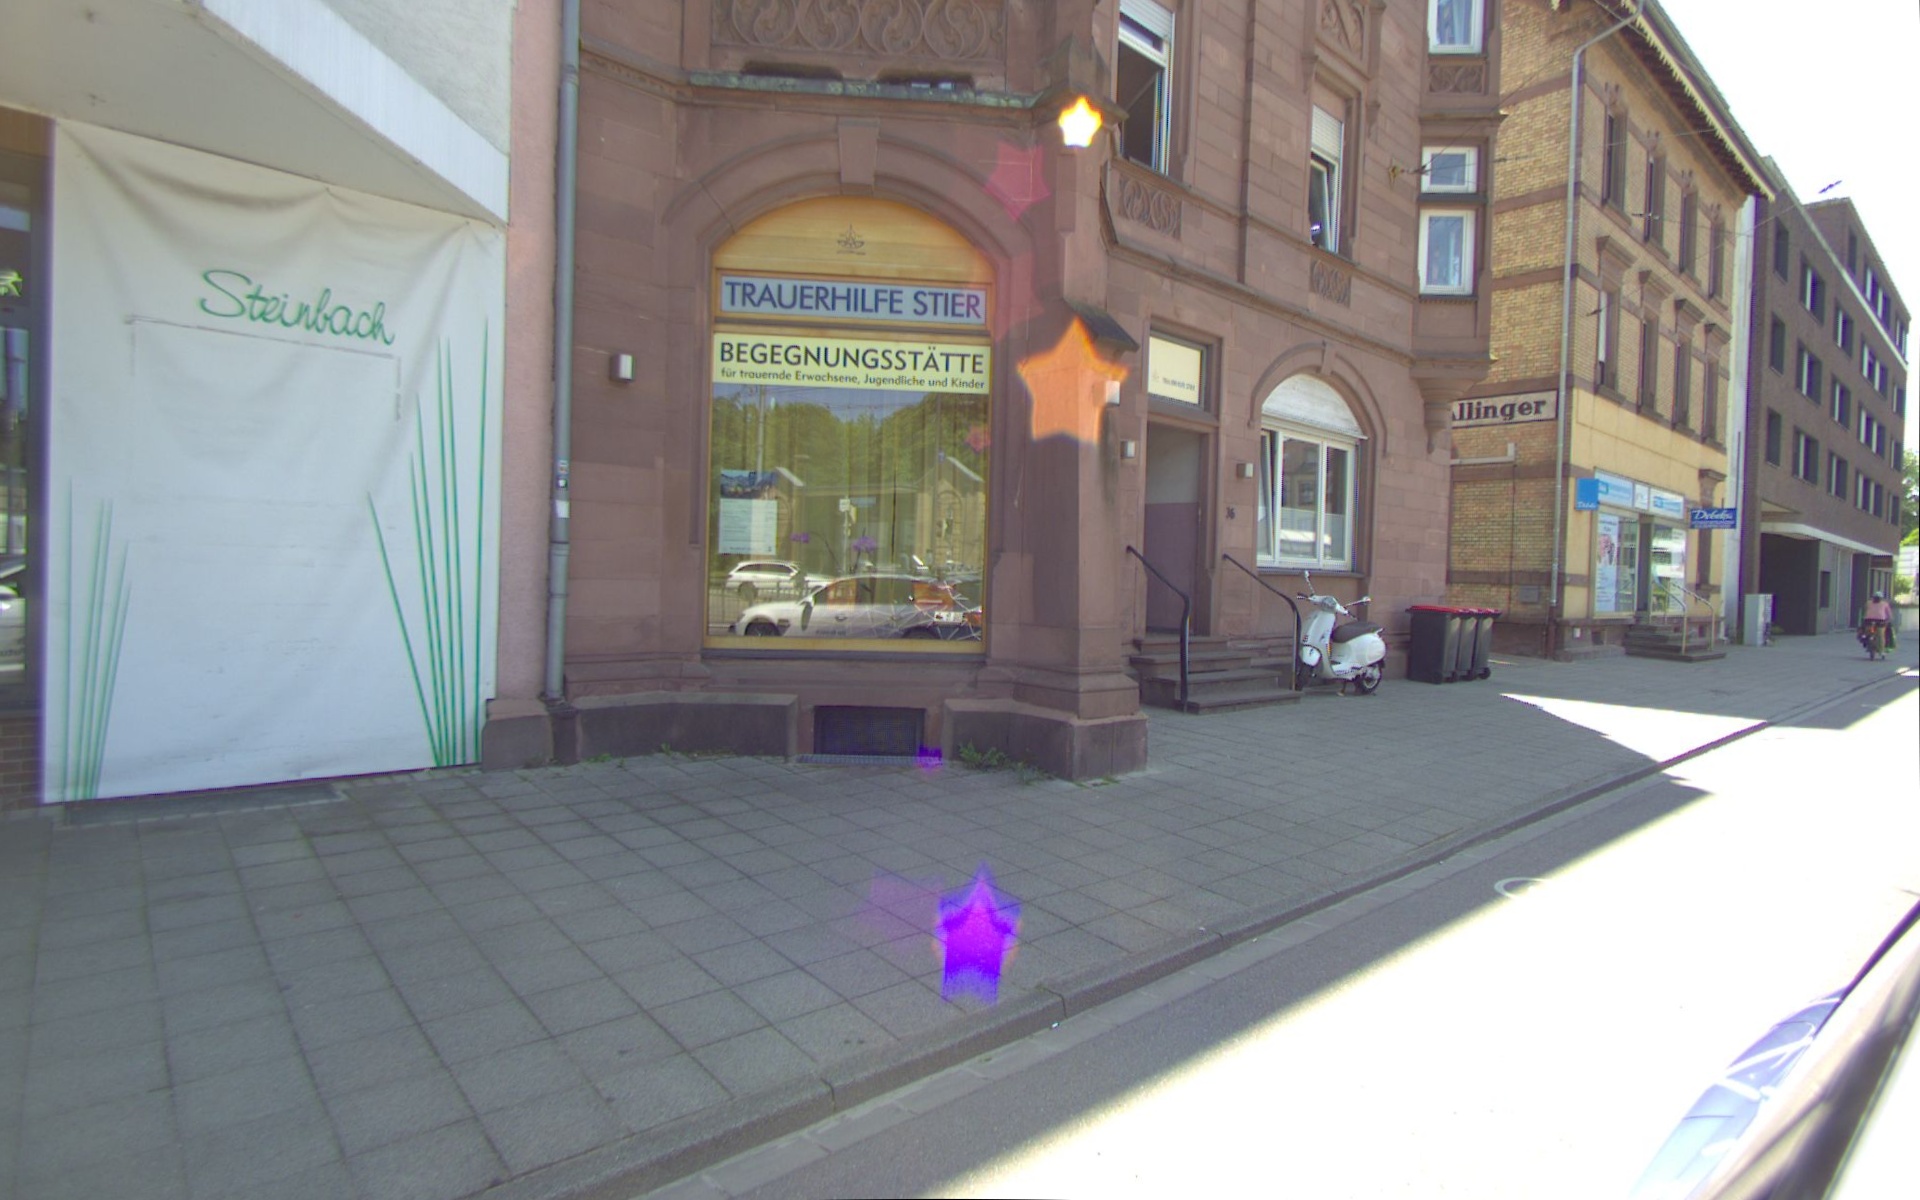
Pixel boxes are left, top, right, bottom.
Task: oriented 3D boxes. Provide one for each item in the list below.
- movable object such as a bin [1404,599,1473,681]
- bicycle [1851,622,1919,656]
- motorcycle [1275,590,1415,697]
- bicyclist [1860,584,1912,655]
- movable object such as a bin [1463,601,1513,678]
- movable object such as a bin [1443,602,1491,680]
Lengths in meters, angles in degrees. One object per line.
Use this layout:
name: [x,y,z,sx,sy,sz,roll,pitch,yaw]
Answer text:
movable object such as a bin: [6.664,0.542,14.091,0.549,1.061,0.649,1,4,-42]
bicycle: [23.364,0.976,25.504,1.869,0.807,0.691,1,1,-27]
motorcycle: [4.528,0.483,11.848,1.843,1.163,0.529,1,1,-33]
bicyclist: [23.300,0.486,25.467,0.909,1.744,0.673,1,1,-27]
movable object such as a bin: [7.686,0.562,14.721,0.646,1.061,0.376,1,4,-42]
movable object such as a bin: [7.194,0.569,14.351,0.549,1.061,0.376,1,3,-42]
